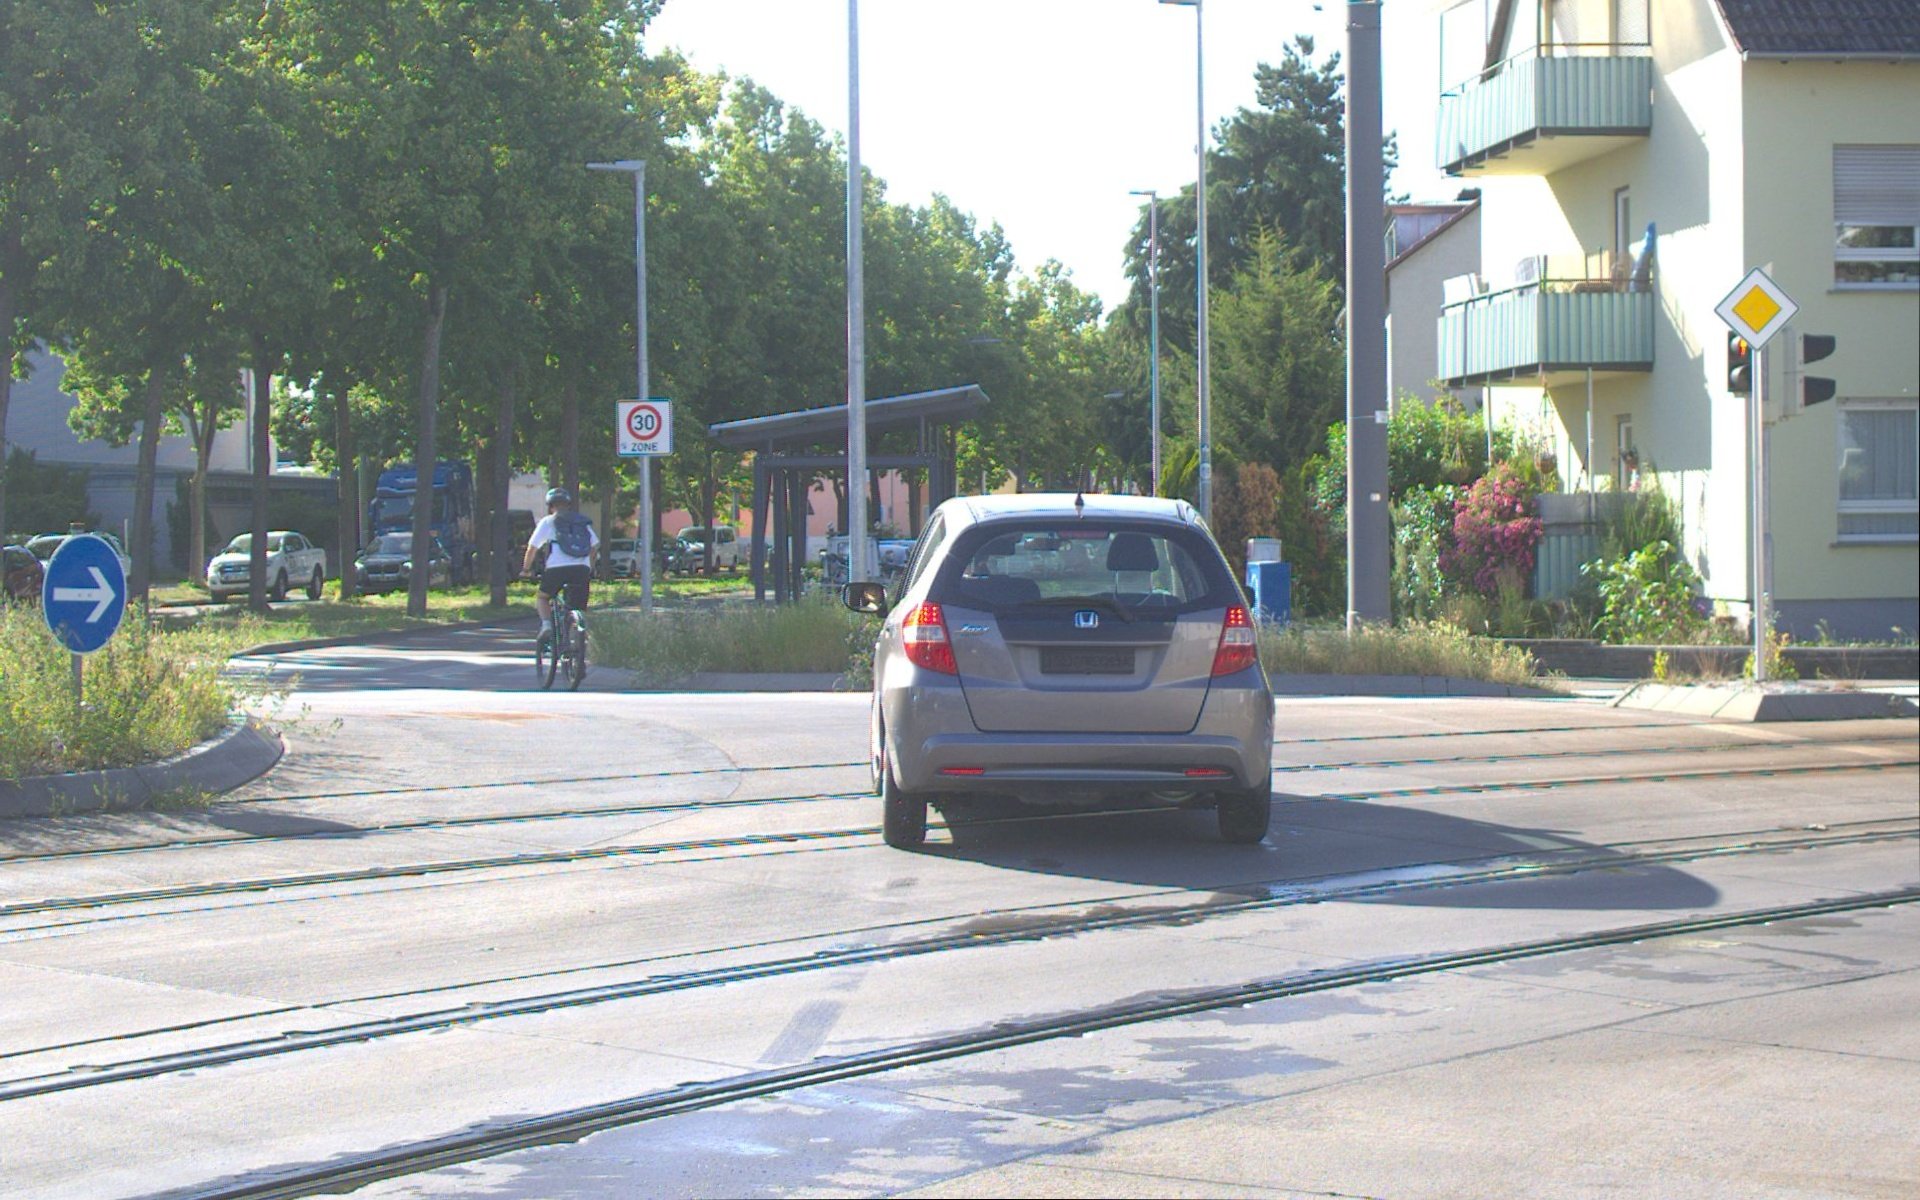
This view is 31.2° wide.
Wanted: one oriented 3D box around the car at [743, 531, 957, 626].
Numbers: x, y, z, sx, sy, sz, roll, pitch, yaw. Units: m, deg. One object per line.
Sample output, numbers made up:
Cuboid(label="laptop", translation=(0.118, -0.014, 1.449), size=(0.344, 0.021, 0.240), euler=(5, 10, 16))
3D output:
Cuboid(label="car", translation=(-1.844, -0.380, 58.567), size=(3.517, 1.528, 1.577), euler=(1, 1, 2))

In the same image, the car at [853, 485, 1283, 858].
Cuboid(label="car", translation=(0.386, 0.227, 16.065), size=(1.687, 1.485, 3.915), euler=(-1, 2, -3))

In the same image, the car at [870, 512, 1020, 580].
Cuboid(label="car", translation=(-0.338, -1.299, 82.426), size=(3.517, 1.528, 1.577), euler=(1, 1, 2))

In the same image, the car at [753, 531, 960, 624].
Cuboid(label="car", translation=(-1.798, -0.408, 60.330), size=(3.517, 1.528, 1.577), euler=(1, 1, 2))

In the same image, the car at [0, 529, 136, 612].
Cuboid(label="car", translation=(-19.198, -0.655, 73.646), size=(1.993, 1.694, 4.218), euler=(1, 1, 1))

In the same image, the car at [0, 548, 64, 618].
Cuboid(label="car", translation=(-19.356, -0.360, 68.841), size=(1.961, 1.319, 4.001), euler=(1, 1, -3))

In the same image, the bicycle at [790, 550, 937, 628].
Cuboid(label="bicycle", translation=(-1.323, -0.154, 46.934), size=(1.973, 1.024, 0.696), euler=(1, 1, -2))

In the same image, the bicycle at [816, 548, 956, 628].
Cuboid(label="bicycle", translation=(-0.995, -0.160, 46.037), size=(1.840, 1.024, 0.689), euler=(1, 1, -2))

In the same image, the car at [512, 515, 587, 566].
Cuboid(label="car", translation=(-14.250, -2.085, 119.580), size=(1.993, 1.694, 4.218), euler=(1, 1, 1))

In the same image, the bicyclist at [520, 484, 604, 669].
Cuboid(label="bicyclist", translation=(-3.749, -0.209, 32.379), size=(0.603, 1.708, 0.544), euler=(1, -3, -30))

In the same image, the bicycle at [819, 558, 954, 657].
Cuboid(label="bicycle", translation=(-0.927, 0.090, 43.244), size=(1.665, 1.203, 0.689), euler=(1, 1, -2))

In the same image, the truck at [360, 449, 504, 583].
Cuboid(label="truck", translation=(-16.472, -2.639, 107.781), size=(3.069, 3.979, 8.009), euler=(1, 2, 1))

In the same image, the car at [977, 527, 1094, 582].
Cuboid(label="car", translation=(2.206, -1.340, 100.745), size=(3.359, 1.528, 1.523), euler=(1, 1, 1))

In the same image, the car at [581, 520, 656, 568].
Cuboid(label="car", translation=(-12.740, -2.095, 128.467), size=(1.994, 1.694, 4.217), euler=(1, 1, 6))

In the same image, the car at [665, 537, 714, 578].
Cuboid(label="car", translation=(-11.093, -1.757, 141.124), size=(1.647, 1.642, 3.569), euler=(1, 1, 1))

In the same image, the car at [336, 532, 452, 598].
Cuboid(label="car", translation=(-14.307, -0.899, 87.091), size=(1.831, 1.575, 4.440), euler=(1, 1, 5))

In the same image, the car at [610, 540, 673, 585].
Cuboid(label="car", translation=(-12.570, -1.508, 135.858), size=(1.993, 1.694, 4.218), euler=(1, 1, 1))

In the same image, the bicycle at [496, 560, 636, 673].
Cuboid(label="bicycle", translation=(-3.710, 0.161, 32.297), size=(0.766, 1.033, 1.534), euler=(1, -1, -29))

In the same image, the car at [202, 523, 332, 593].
Cuboid(label="car", translation=(-18.129, -1.115, 90.168), size=(1.994, 1.766, 5.059), euler=(1, 1, 5))
